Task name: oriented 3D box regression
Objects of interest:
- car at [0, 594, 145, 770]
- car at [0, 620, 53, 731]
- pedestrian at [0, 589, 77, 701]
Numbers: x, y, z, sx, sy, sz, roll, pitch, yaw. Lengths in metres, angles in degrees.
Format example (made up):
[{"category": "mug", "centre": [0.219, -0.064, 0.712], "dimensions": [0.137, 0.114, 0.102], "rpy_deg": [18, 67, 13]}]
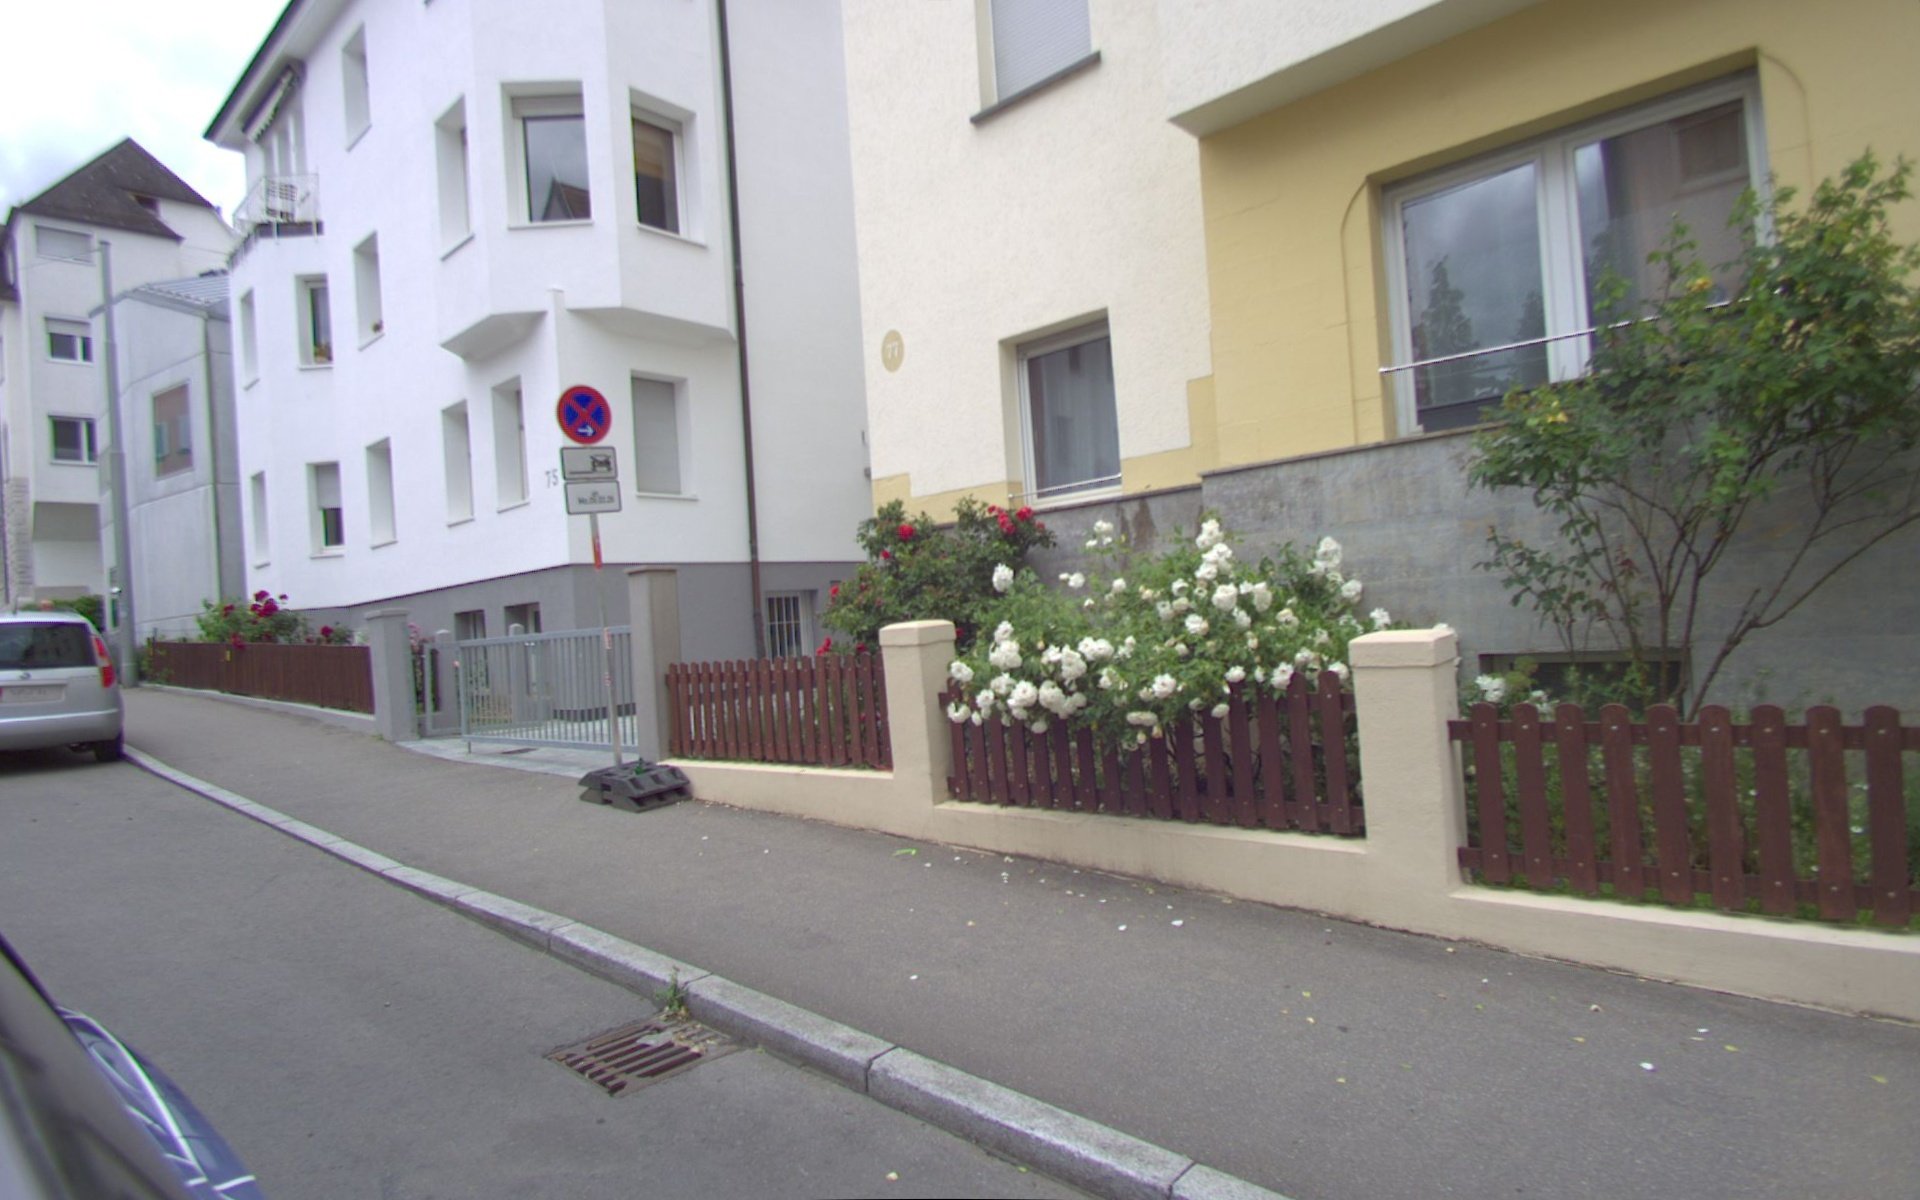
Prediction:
[{"category": "car", "centre": [-10.662, 0.857, 11.092], "dimensions": [4.282, 1.643, 1.827], "rpy_deg": [-3, 0, 39]}, {"category": "car", "centre": [-14.797, 1.071, 14.753], "dimensions": [4.502, 1.468, 1.826], "rpy_deg": [-2, 0, 41]}, {"category": "pedestrian", "centre": [-16.266, 0.777, 17.854], "dimensions": [0.805, 1.899, 0.850], "rpy_deg": [-2, 0, -27]}]
